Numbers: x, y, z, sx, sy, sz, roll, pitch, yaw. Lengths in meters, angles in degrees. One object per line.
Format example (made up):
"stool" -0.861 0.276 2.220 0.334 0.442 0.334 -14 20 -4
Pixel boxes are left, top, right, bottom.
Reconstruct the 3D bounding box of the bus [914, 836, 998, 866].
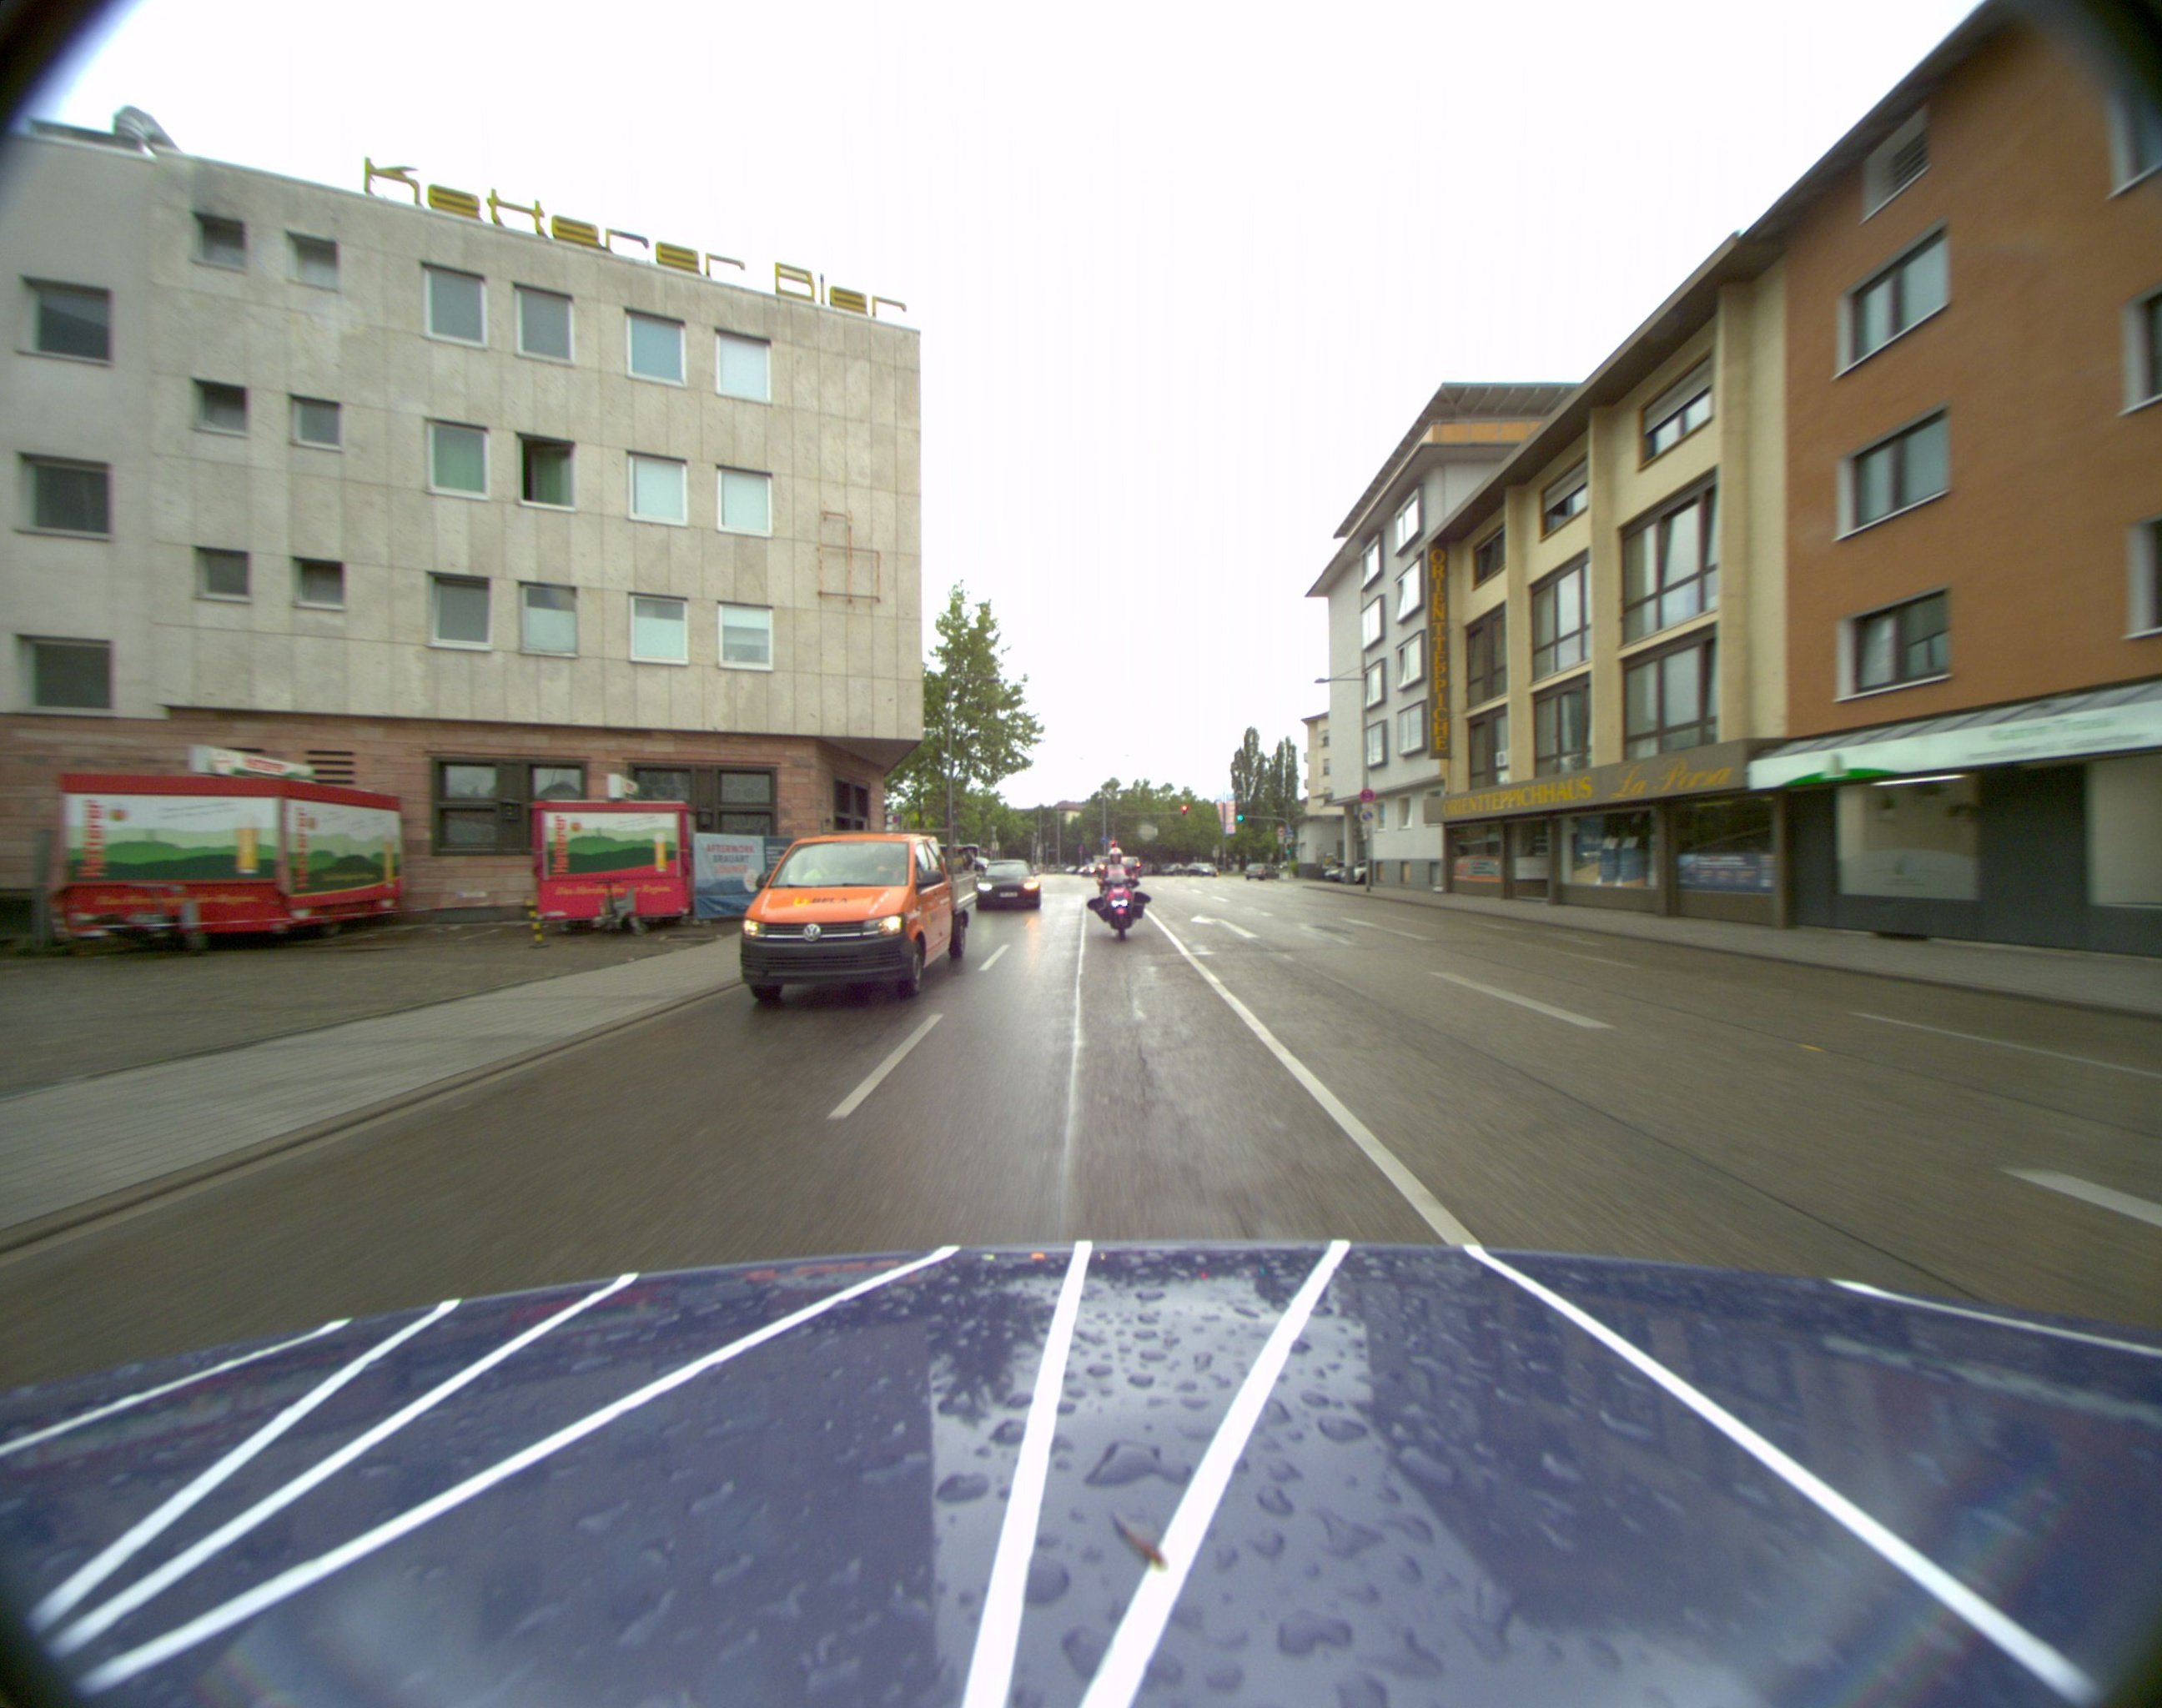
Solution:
"bus" -14.103 -0.365 85.337 9.631 3.197 2.711 1 -1 29

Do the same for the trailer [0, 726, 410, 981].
"trailer" -14.508 -0.019 12.813 2.753 3.288 6.061 -1 1 -21

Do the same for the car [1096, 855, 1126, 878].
"car" 2.010 0.811 49.620 1.558 1.389 3.730 -2 -1 8

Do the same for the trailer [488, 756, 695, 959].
"trailer" -9.220 0.021 14.980 2.640 3.158 5.704 0 1 -25

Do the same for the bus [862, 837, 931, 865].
"bus" -21.877 -0.393 89.846 8.536 3.162 2.693 1 1 31

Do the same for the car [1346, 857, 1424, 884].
"car" 16.679 0.906 41.745 3.632 1.330 1.495 2 0 -1

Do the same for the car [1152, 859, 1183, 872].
"car" 14.920 2.042 130.809 4.839 1.931 1.954 -4 -1 31

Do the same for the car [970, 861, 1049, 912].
"car" -2.387 0.973 24.299 1.898 1.396 4.356 -2 0 -13

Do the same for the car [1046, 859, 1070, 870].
"car" -3.464 1.583 116.543 1.758 1.581 4.185 1 -1 28

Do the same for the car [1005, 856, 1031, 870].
"car" -10.580 1.572 127.959 1.968 2.306 5.022 1 -1 25

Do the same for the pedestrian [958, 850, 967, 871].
"pedestrian" -9.859 0.535 63.347 0.559 1.695 0.527 2 0 -23

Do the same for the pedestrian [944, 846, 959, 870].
"pedestrian" -9.266 0.278 54.282 0.574 1.676 0.961 2 0 -44

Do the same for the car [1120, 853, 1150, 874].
"car" 4.377 0.745 61.309 1.758 1.605 4.216 1 -1 13

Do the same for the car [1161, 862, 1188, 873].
"car" 12.693 1.826 102.661 1.892 1.479 4.370 1 0 32

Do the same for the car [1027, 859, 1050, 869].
"car" -6.628 1.570 118.176 1.758 1.581 4.008 1 -1 28

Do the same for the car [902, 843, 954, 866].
"car" -15.696 0.052 77.813 2.260 2.221 6.323 0 1 -43

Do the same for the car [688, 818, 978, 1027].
"car" -2.894 0.687 10.503 2.107 2.077 5.541 -1 0 0

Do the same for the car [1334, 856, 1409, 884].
"car" 16.999 0.919 44.576 3.766 1.412 1.638 2 0 2

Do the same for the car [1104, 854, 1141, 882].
"car" 2.270 0.732 42.512 1.737 1.431 4.412 0 0 -1

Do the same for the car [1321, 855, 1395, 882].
"car" 17.041 0.891 46.861 3.821 1.413 1.797 2 2 2

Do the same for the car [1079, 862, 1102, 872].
"car" 1.532 2.079 118.858 1.734 1.431 4.454 1 -1 27

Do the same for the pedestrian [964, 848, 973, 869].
"pedestrian" -8.825 0.334 59.520 0.602 1.590 0.706 3 1 -12

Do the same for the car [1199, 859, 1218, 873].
"car" 13.285 1.230 79.177 1.802 1.425 4.399 -2 0 7

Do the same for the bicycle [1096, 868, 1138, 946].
"bicycle" 0.700 0.961 14.653 0.717 1.298 2.428 -1 1 3

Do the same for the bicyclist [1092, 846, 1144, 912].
"bicyclist" 0.702 0.482 14.402 0.963 1.218 0.715 -1 -2 3

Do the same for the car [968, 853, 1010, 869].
"car" -8.455 0.601 69.809 1.799 1.366 4.084 0 1 -42

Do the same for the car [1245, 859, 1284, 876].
"car" 15.673 1.176 64.818 1.729 1.358 4.120 -1 -2 38

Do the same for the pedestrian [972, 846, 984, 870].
"pedestrian" -8.039 0.291 59.346 0.744 1.819 0.693 3 0 -15

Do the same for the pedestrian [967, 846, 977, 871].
"pedestrian" -9.062 0.385 63.307 0.589 2.002 0.786 2 0 -24
